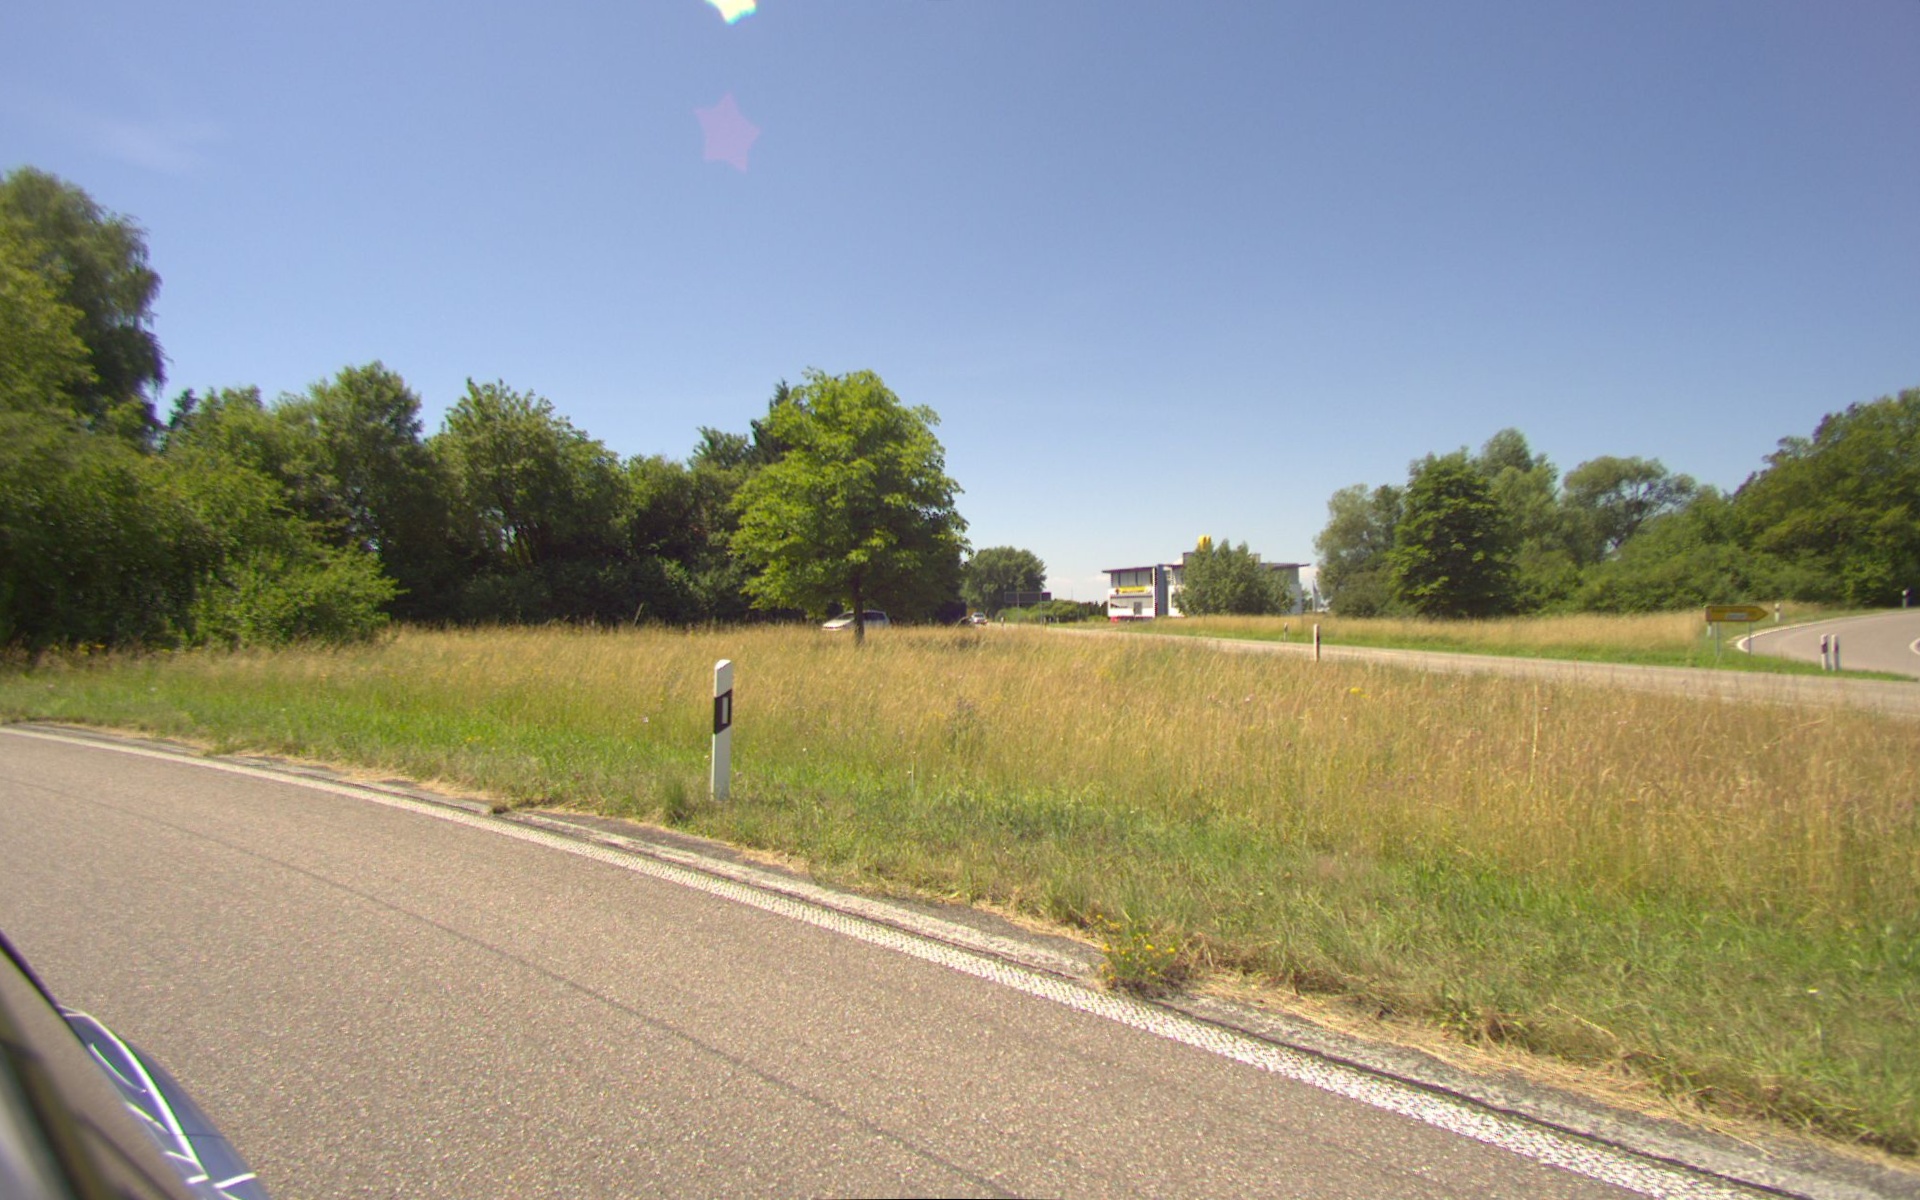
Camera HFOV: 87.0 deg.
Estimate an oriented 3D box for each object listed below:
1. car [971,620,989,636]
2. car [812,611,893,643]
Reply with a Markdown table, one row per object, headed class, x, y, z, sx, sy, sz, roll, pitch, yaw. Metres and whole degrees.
| class | x | y | z | sx | sy | sz | roll | pitch | yaw |
| --- | --- | --- | --- | --- | --- | --- | --- | --- | --- |
| car | 2.650 | 3.783 | 135.302 | 1.885 | 1.976 | 4.462 | 0 | -3 | -6 |
| car | -5.784 | 1.494 | 54.677 | 3.932 | 1.608 | 1.862 | 2 | -3 | -32 |
